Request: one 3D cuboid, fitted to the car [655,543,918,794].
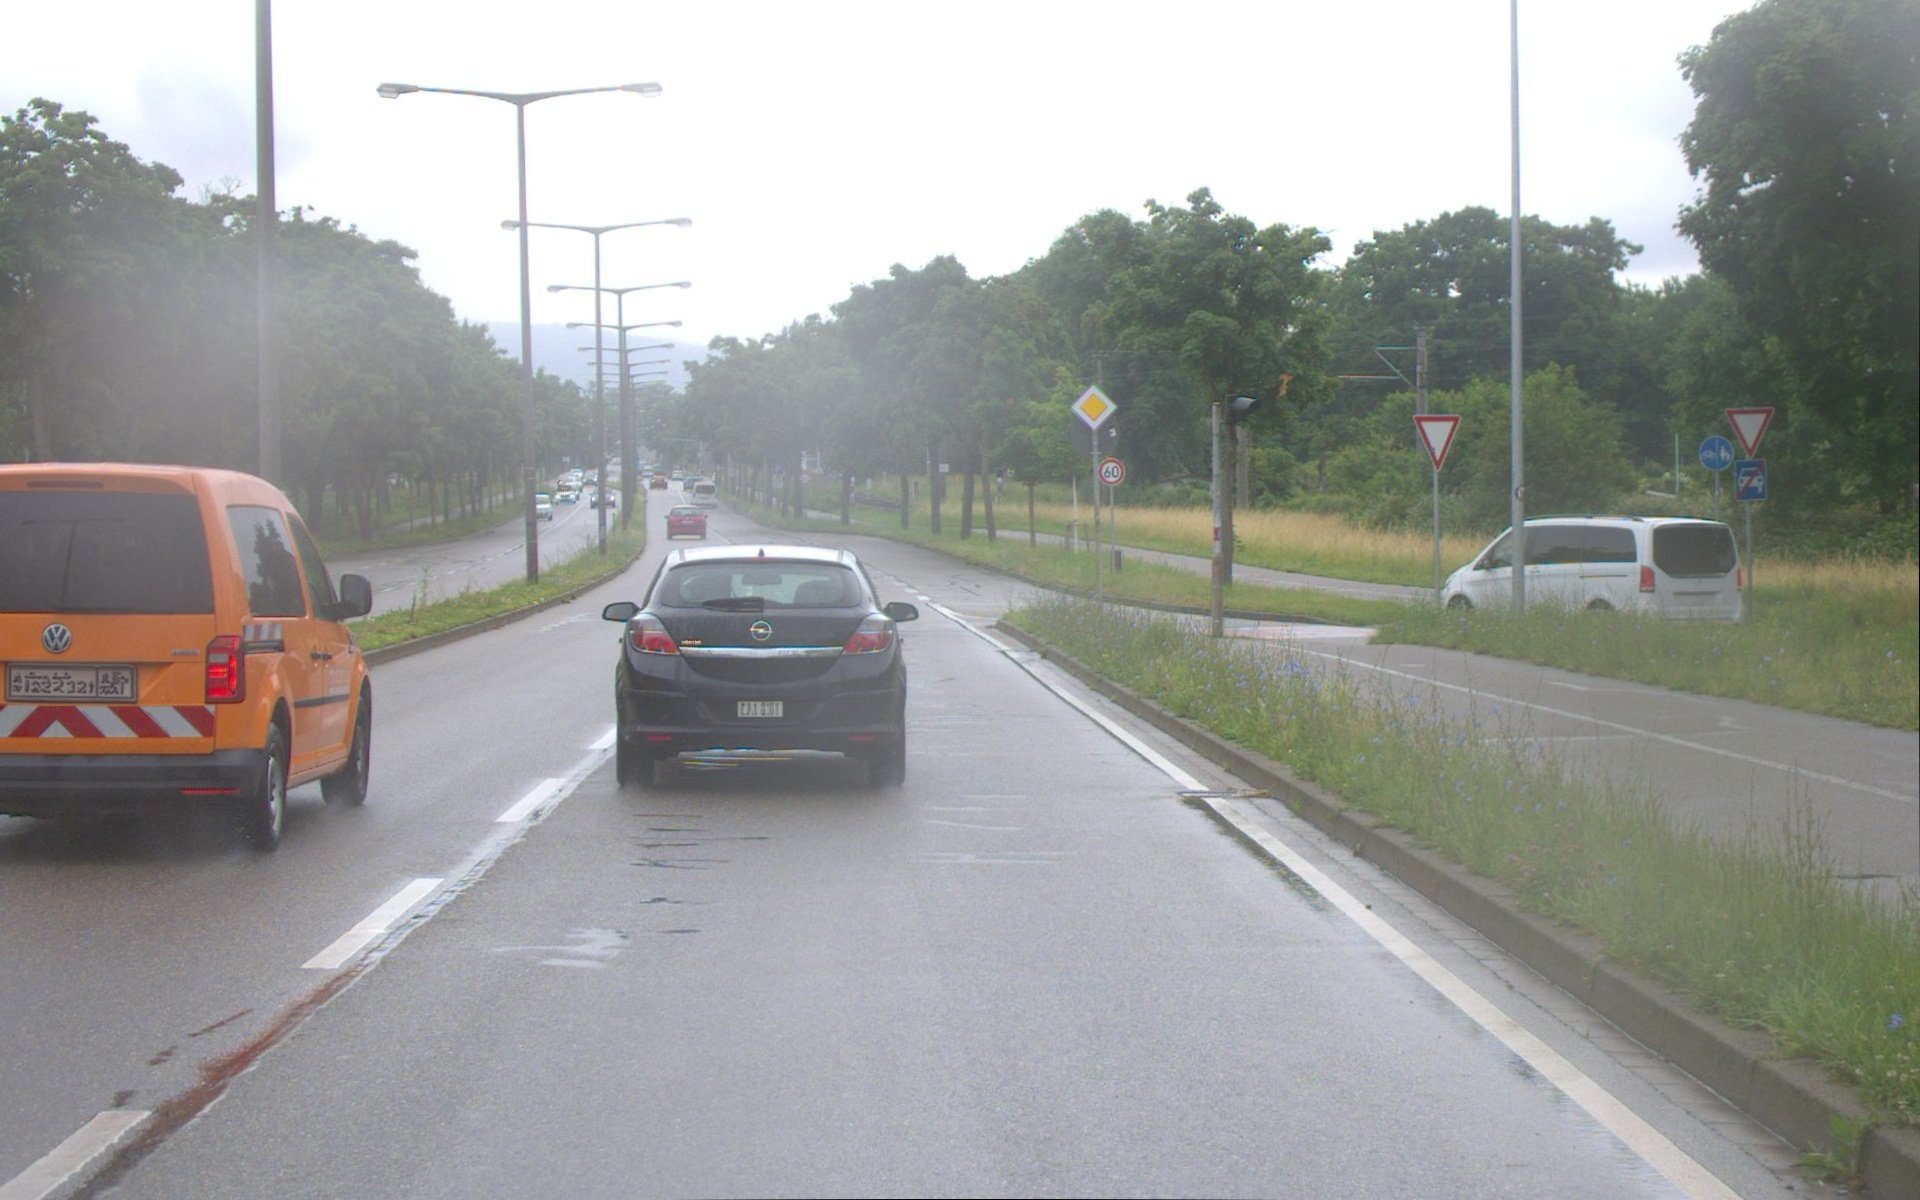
[{"bbox_3d":[-1.013,0.353,21.174,1.463,1.324,3.758,0,2,-1],"label":"car"}]

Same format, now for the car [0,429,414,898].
[{"bbox_3d":[-4.003,0.210,17.295,1.734,2.012,4.850,1,1,0],"label":"car"}]

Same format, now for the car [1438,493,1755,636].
[{"bbox_3d":[9.174,-0.548,49.940,2.059,1.968,4.609,0,1,-28],"label":"car"}]

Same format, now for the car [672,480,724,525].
[{"bbox_3d":[-11.158,-4.141,146.554,1.993,1.873,4.000,0,1,-1],"label":"car"}]

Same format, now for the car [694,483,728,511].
[{"bbox_3d":[-18.763,-7.775,258.911,2.515,2.045,5.294,-1,1,-4],"label":"car"}]

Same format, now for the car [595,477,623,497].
[{"bbox_3d":[-25.595,-8.238,250.679,1.827,1.445,3.810,0,2,-3],"label":"car"}]

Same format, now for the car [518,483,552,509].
[{"bbox_3d":[-25.502,-6.250,206.457,1.683,1.548,4.001,1,1,-2],"label":"car"}]
